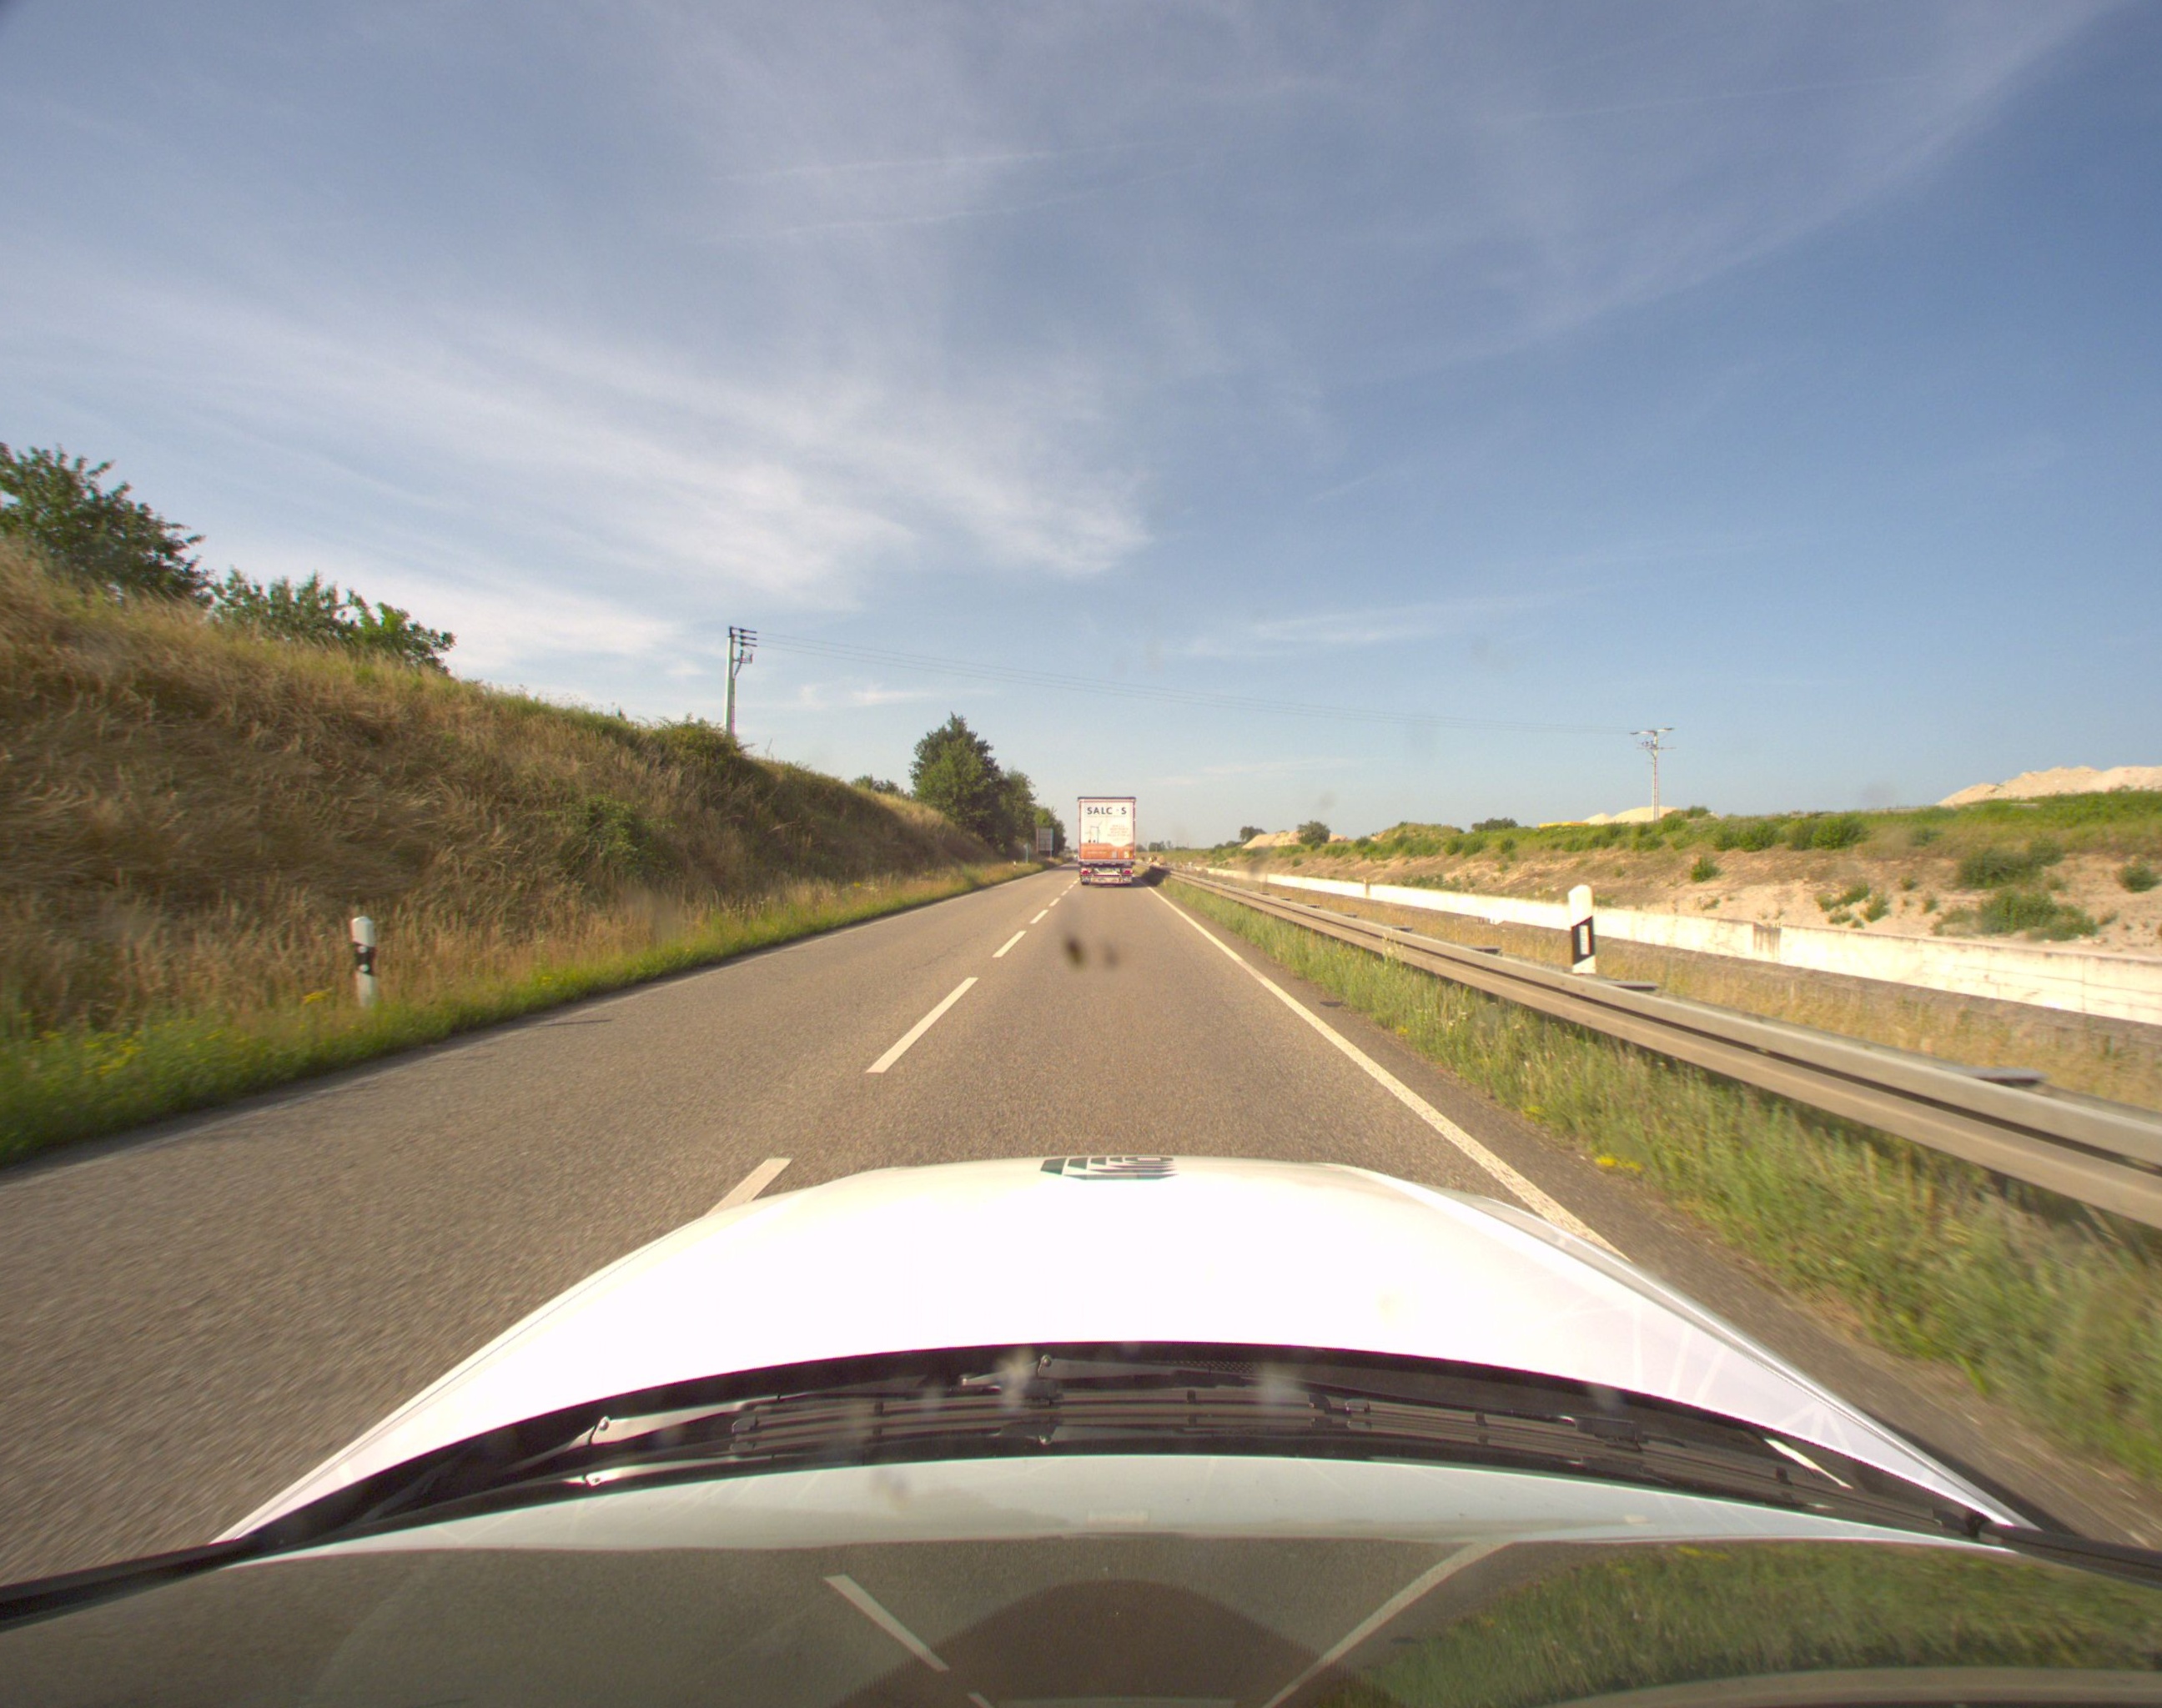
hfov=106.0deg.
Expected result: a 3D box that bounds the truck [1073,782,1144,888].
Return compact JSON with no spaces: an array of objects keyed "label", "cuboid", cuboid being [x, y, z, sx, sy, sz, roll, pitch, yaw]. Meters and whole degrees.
[{"label":"truck","cuboid":[1.248,-0.844,40.445,3.143,4.688,8.440,0,0,0]}]
